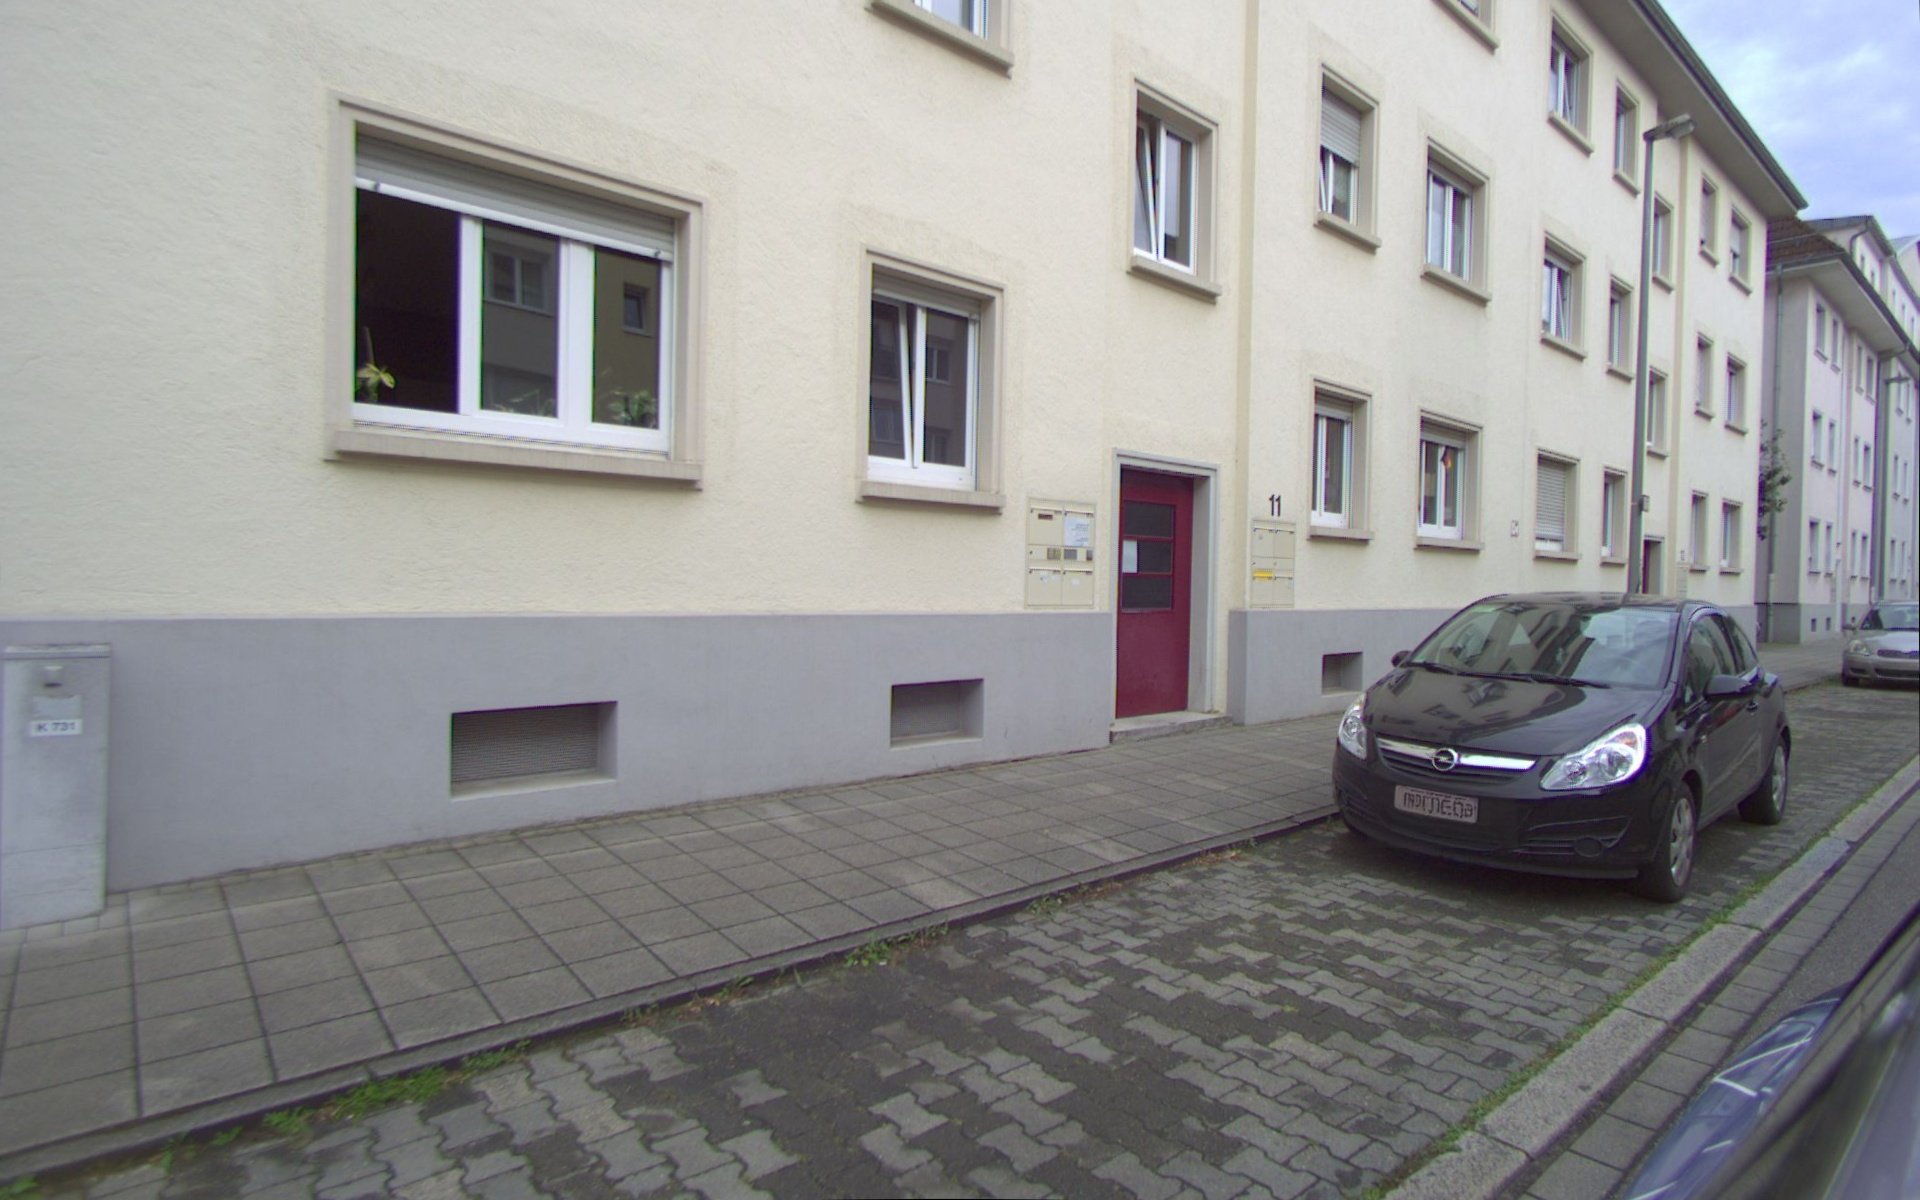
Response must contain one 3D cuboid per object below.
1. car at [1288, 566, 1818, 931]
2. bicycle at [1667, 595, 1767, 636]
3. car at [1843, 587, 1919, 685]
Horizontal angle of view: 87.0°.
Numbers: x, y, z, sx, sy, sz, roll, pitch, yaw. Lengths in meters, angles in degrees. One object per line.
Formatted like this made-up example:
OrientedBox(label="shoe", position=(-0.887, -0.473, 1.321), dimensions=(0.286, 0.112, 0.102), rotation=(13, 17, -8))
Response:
OrientedBox(label="car", position=(3.848, 0.610, 6.252), dimensions=(3.991, 1.536, 1.727), rotation=(0, 0, -42))
OrientedBox(label="bicycle", position=(21.615, 0.415, 28.937), dimensions=(0.637, 1.090, 2.212), rotation=(0, 1, -41))
OrientedBox(label="car", position=(16.650, 0.568, 17.419), dimensions=(3.991, 1.536, 1.728), rotation=(0, 2, -42))
